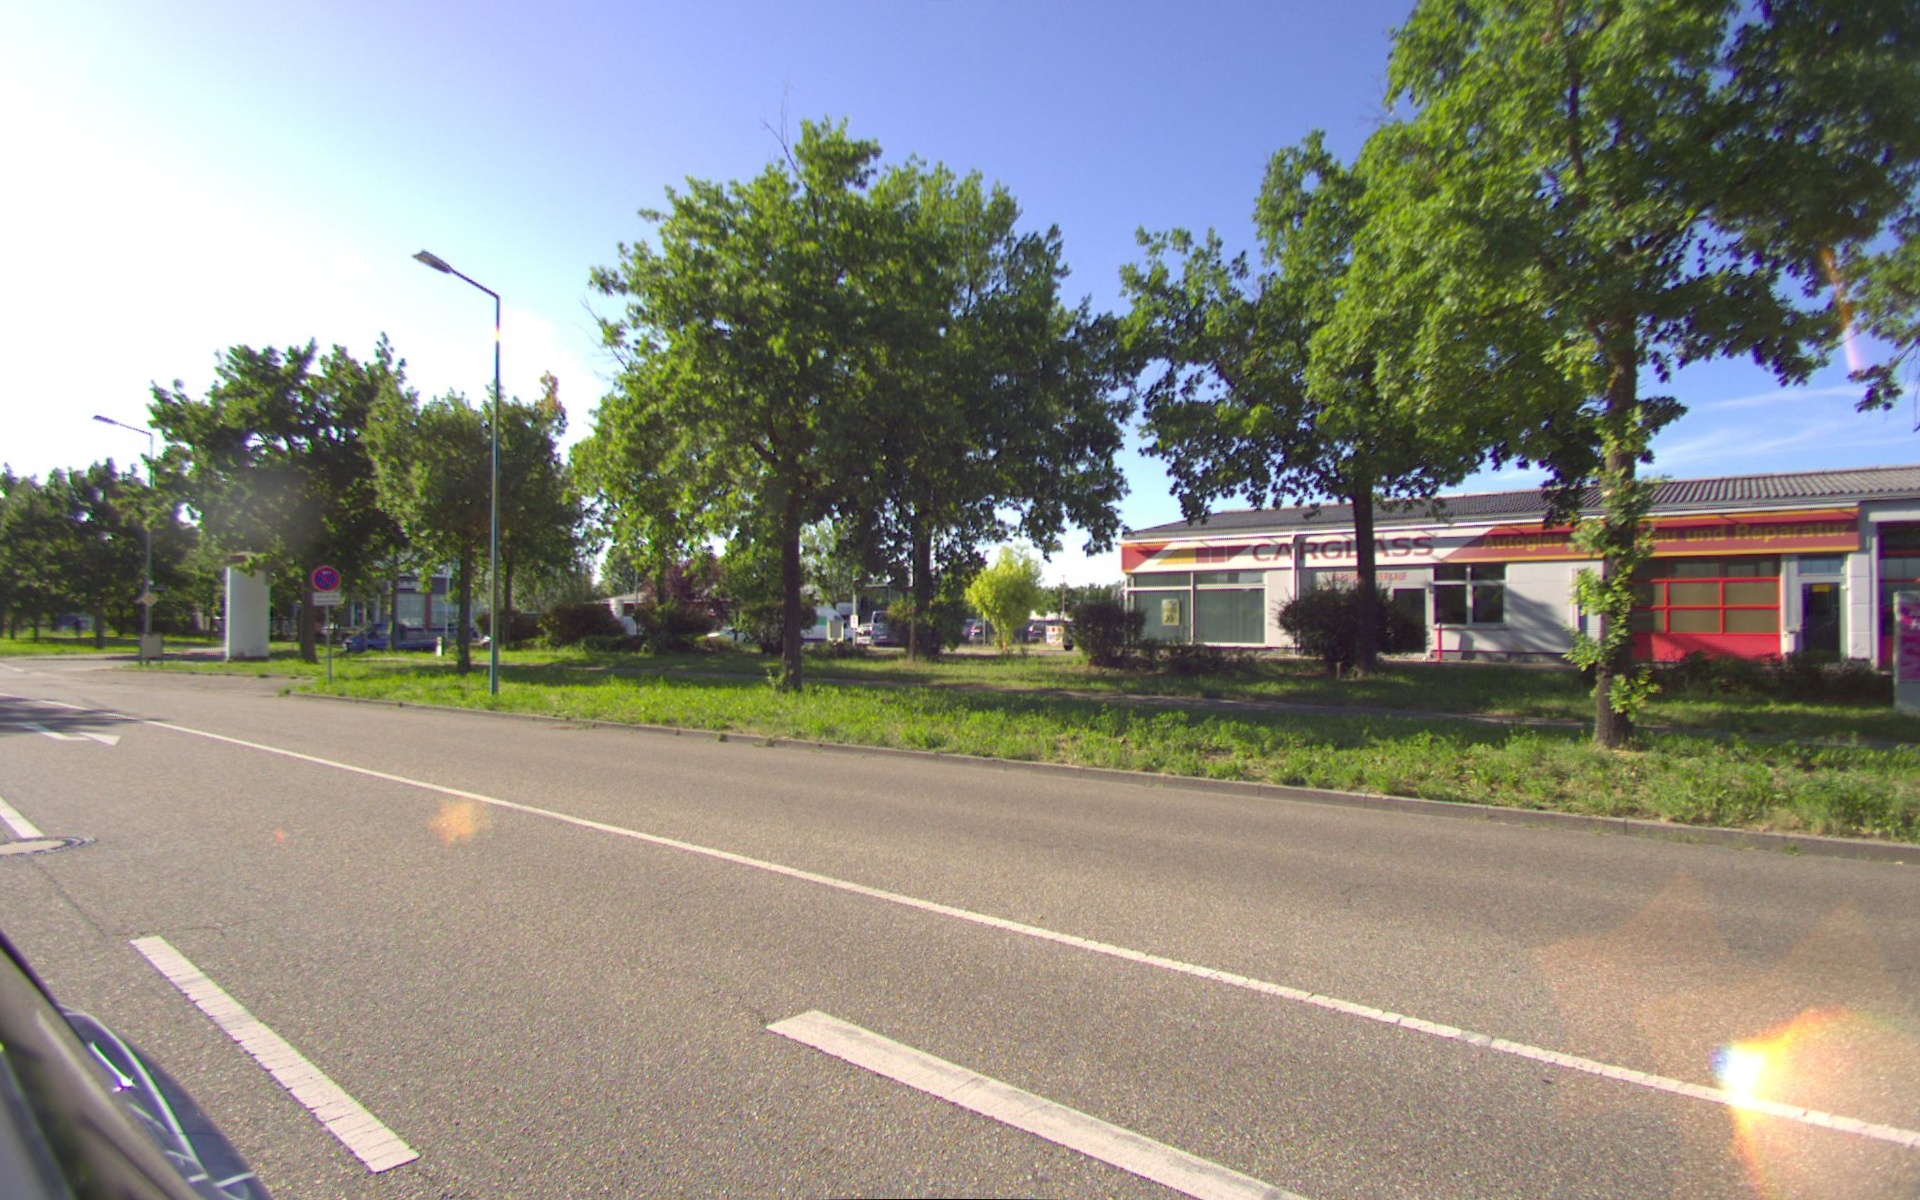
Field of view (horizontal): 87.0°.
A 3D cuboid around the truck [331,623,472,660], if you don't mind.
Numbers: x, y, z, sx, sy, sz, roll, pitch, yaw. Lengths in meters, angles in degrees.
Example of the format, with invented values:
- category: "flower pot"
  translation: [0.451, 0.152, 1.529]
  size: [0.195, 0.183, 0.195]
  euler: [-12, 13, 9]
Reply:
- category: "truck"
  translation: [-33.058, 2.438, 60.175]
  size: [2.138, 2.065, 7.043]
  euler: [-1, -2, 38]

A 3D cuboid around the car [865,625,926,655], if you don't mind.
- category: "car"
  translation: [-4.311, 2.667, 68.151]
  size: [1.882, 1.899, 4.199]
  euler: [-1, -2, 37]

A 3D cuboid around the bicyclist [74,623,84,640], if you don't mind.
- category: "bicyclist"
  translation: [-85.316, 3.076, 97.989]
  size: [0.659, 1.641, 0.656]
  euler: [-1, 0, 43]

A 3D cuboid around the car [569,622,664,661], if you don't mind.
- category: "car"
  translation: [-24.402, 2.909, 72.149]
  size: [2.297, 2.535, 6.280]
  euler: [-1, 0, 37]

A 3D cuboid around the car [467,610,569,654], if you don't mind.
- category: "car"
  translation: [-28.913, 2.018, 66.379]
  size: [2.297, 2.723, 5.807]
  euler: [-1, 0, 37]

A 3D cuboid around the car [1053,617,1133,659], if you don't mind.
- category: "car"
  translation: [5.139, 1.417, 38.795]
  size: [1.590, 1.509, 3.564]
  euler: [-1, -1, 36]

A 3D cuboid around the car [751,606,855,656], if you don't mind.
- category: "car"
  translation: [-9.062, 1.730, 58.907]
  size: [2.297, 2.723, 6.102]
  euler: [-1, 0, 37]

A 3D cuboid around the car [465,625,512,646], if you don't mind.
- category: "car"
  translation: [-39.367, 2.973, 84.445]
  size: [4.296, 1.505, 1.973]
  euler: [1, 1, 40]

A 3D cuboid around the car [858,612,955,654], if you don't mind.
- category: "car"
  translation: [-2.782, 1.756, 54.117]
  size: [2.297, 2.085, 5.358]
  euler: [-1, -2, 37]

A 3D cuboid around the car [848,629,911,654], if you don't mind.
- category: "car"
  translation: [-4.493, 2.284, 56.623]
  size: [1.572, 1.312, 3.489]
  euler: [-1, -2, 38]

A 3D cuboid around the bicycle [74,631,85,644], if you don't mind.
- category: "bicycle"
  translation: [-85.201, 3.634, 97.926]
  size: [2.334, 1.170, 0.545]
  euler: [-1, 0, 44]
